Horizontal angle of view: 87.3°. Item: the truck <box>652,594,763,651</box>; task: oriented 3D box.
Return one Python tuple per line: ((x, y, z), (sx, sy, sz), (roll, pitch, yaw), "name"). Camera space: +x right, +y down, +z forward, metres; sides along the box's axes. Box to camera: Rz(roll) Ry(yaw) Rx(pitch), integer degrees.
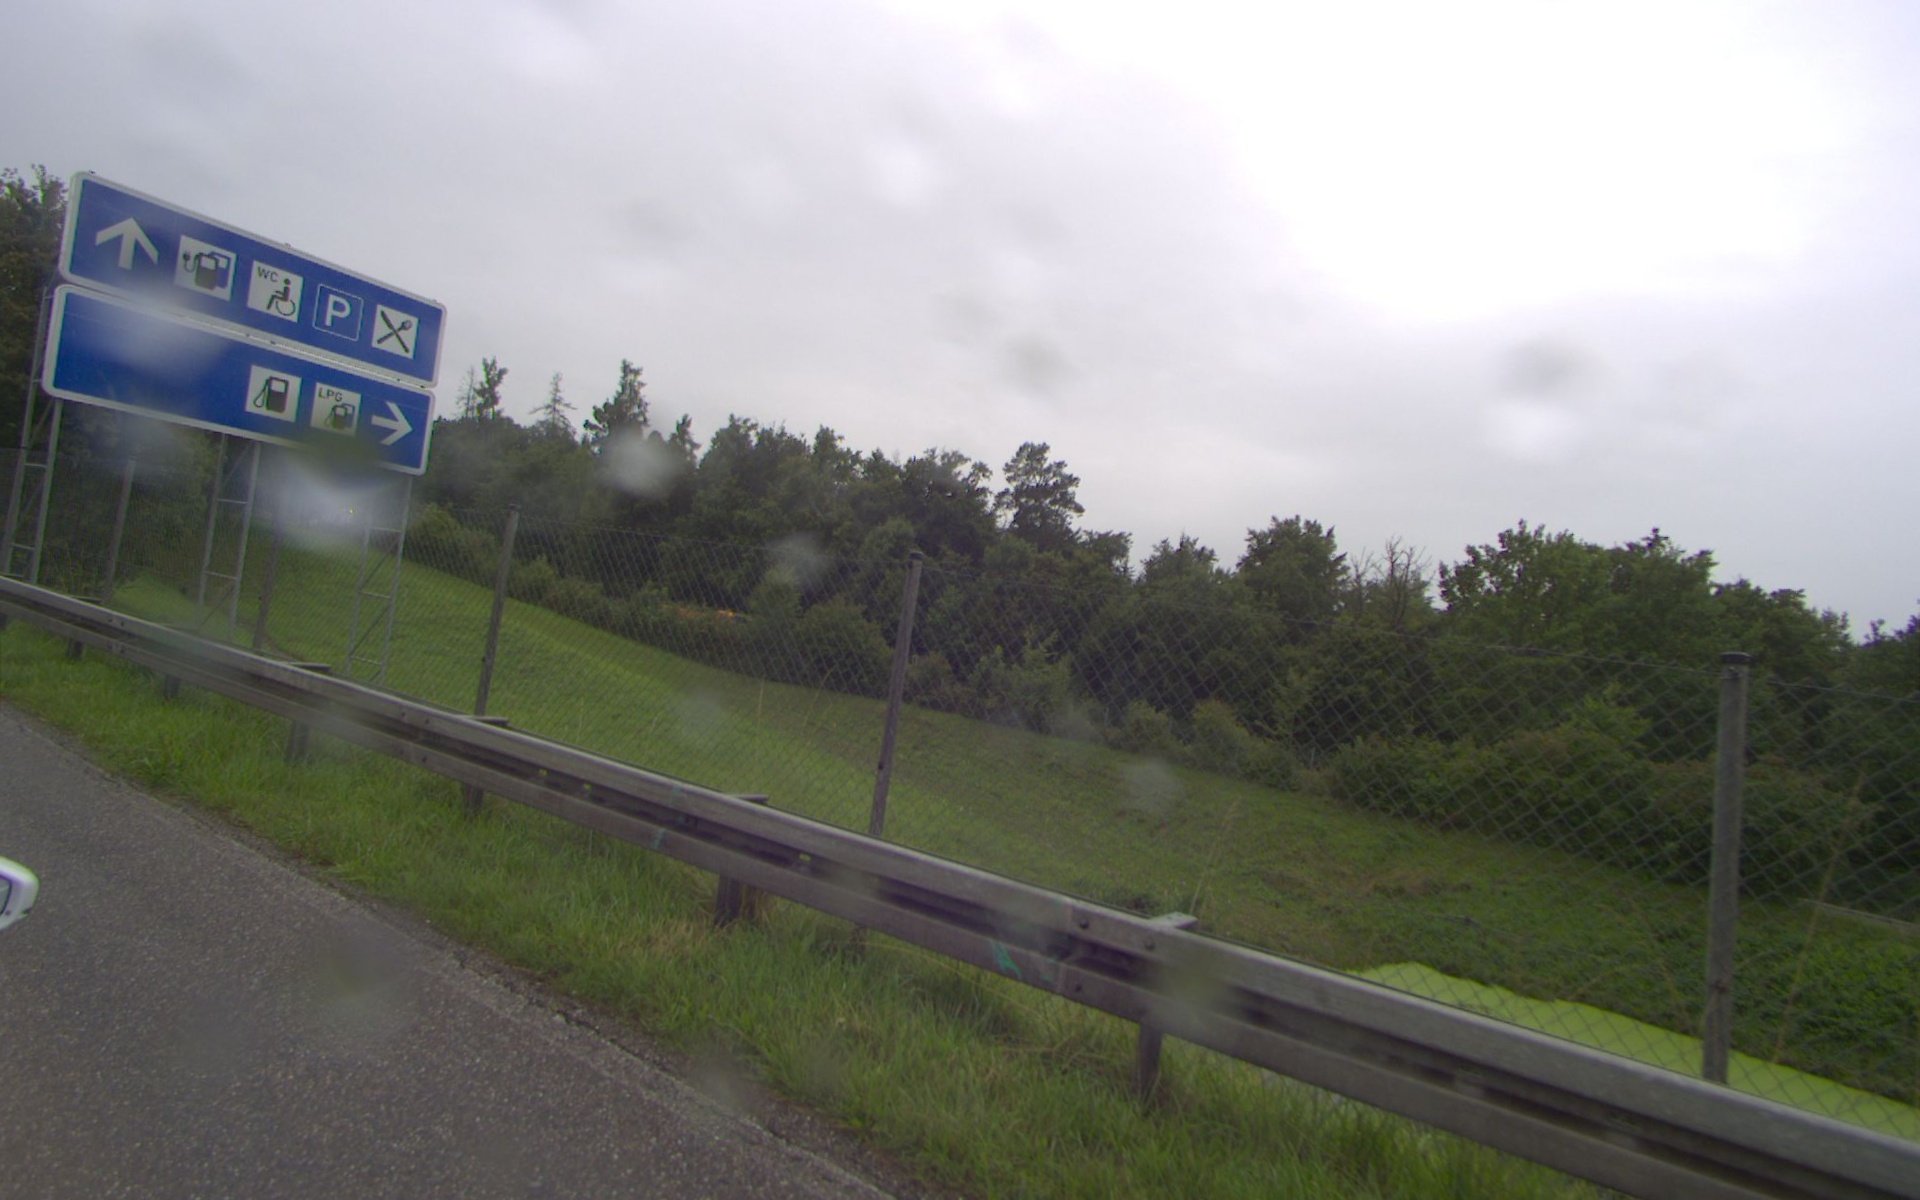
((-18.225, 1.583, 72.318), (8.136, 2.686, 2.835), (8, -6, 36), "truck")
